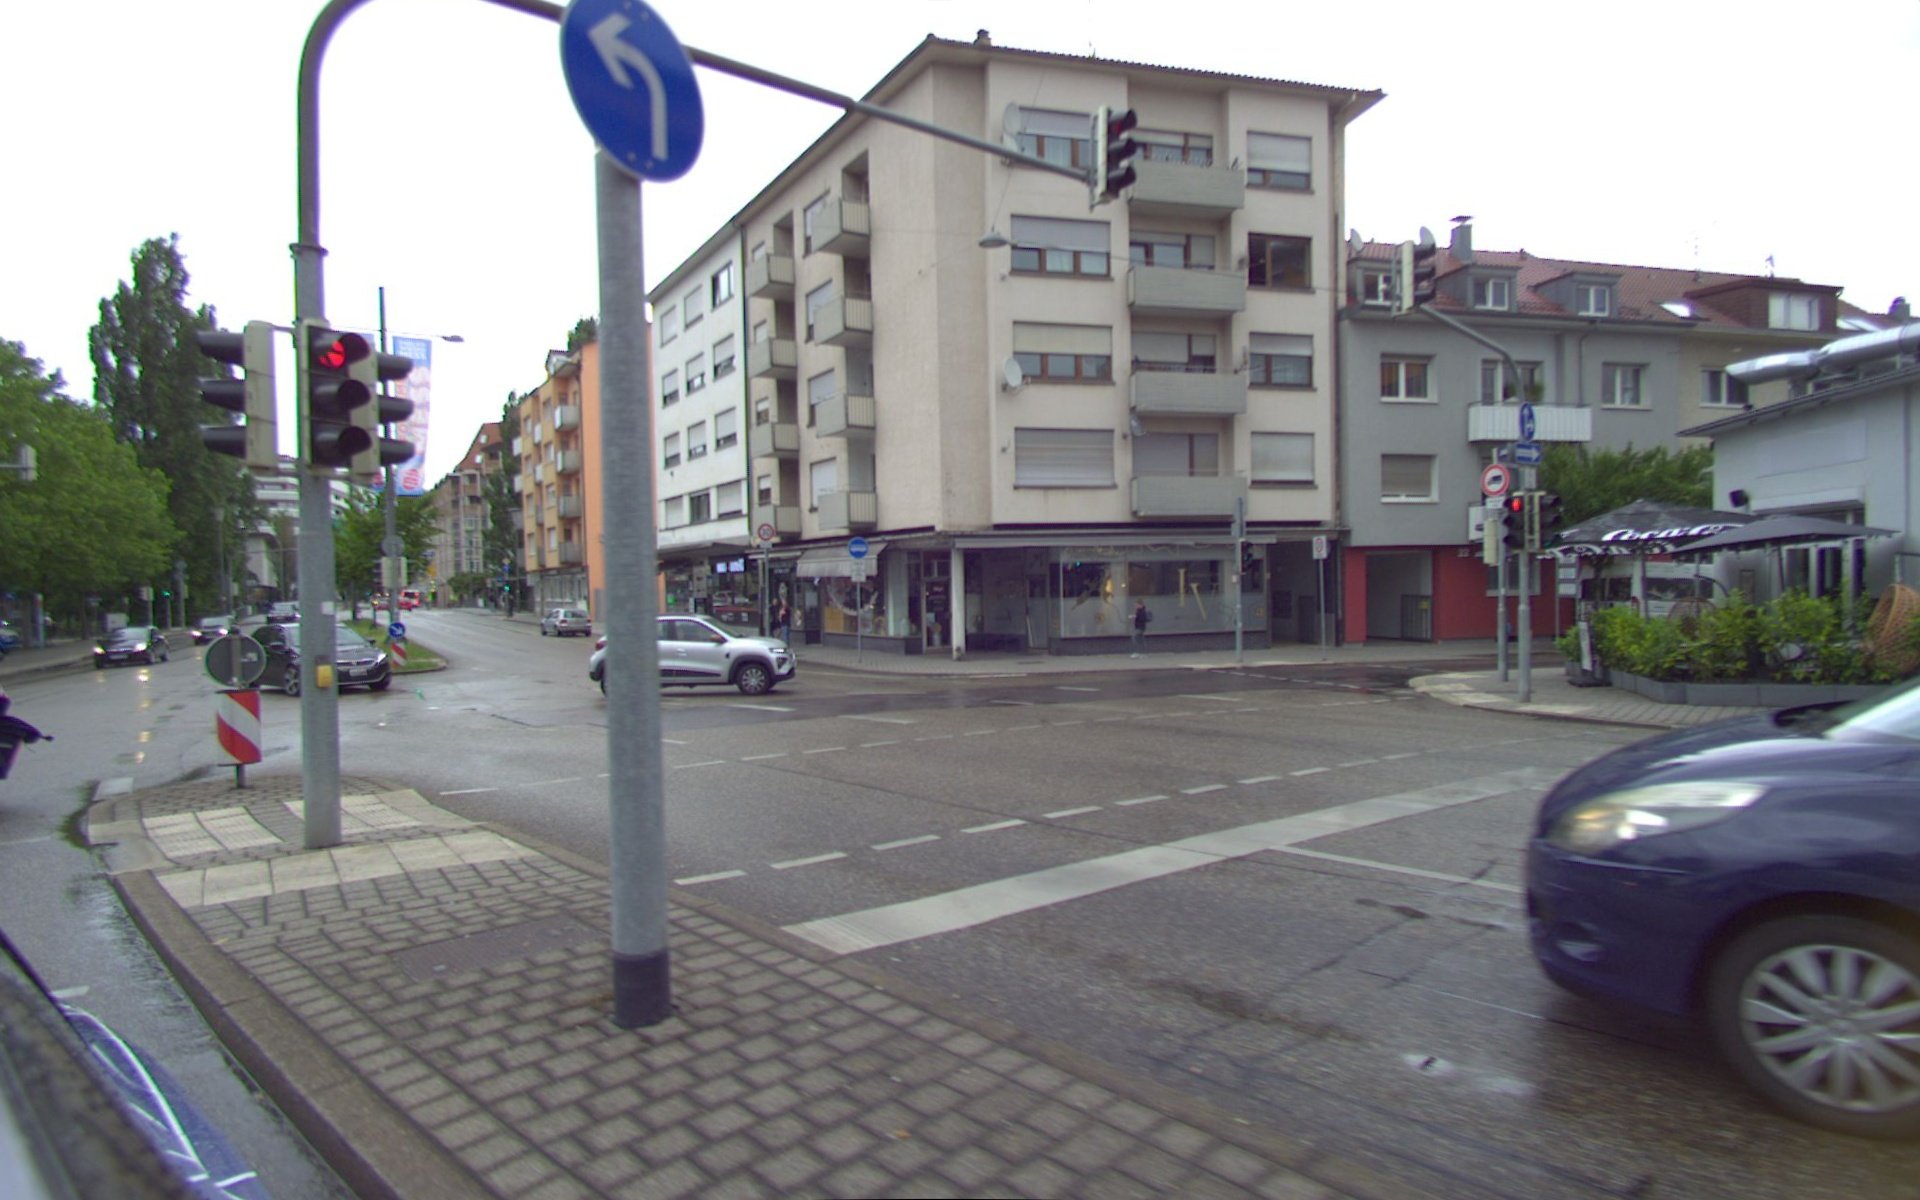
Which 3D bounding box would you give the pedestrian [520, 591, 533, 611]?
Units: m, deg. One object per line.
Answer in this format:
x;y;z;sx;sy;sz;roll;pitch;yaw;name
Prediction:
-38.717;0.073;90.401;0.680;1.703;0.740;-1;1;27;pedestrian

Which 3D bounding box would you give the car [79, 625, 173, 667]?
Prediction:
-31.491;1.684;38.345;1.865;1.410;4.375;0;-1;-27;car

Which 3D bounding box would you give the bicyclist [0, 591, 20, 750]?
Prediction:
-8.059;0.589;7.898;0.948;1.235;0.716;-3;-2;-37;bicyclist

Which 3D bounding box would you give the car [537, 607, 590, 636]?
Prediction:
-20.279;1.080;51.671;1.653;1.402;4.163;1;-1;-34;car

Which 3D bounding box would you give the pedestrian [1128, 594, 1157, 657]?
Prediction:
4.976;0.679;27.666;0.593;1.662;0.530;-2;3;-16;pedestrian

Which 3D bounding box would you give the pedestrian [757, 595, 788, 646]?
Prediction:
-6.744;0.729;36.376;0.767;1.742;0.662;-6;2;-29;pedestrian

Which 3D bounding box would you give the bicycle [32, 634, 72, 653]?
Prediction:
-60.593;2.887;67.534;0.650;1.102;1.906;0;2;42;bicycle

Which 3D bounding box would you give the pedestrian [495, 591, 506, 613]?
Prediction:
-40.516;0.179;89.177;0.734;1.901;0.802;-2;1;-34;pedestrian

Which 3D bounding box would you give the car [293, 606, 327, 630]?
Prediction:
-44.509;1.241;69.393;1.866;1.588;4.373;0;-1;-32;car

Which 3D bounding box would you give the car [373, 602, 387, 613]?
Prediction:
-80.277;1.021;139.971;1.545;1.404;3.845;0;0;-32;car

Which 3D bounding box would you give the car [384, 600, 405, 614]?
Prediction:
-60.275;0.701;107.869;1.581;1.441;3.956;1;0;-34;car

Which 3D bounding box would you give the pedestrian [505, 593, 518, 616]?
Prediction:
-35.968;0.351;81.177;0.608;1.741;0.554;-3;3;39;pedestrian

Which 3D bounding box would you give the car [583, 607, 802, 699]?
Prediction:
-4.805;0.937;18.513;3.578;1.472;1.542;-2;0;0;car

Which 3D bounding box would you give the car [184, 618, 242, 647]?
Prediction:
-39.576;1.701;53.702;1.865;1.432;4.375;0;-1;-28;car

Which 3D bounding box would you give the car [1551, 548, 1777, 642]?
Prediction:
20.376;-0.147;29.399;5.171;2.528;2.412;-1;0;-11;car

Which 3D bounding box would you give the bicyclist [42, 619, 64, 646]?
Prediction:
-60.556;2.157;67.534;0.797;1.783;0.974;0;2;43;bicyclist

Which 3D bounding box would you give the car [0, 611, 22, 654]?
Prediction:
-48.249;1.752;48.187;4.769;1.956;1.957;-5;3;-28;car

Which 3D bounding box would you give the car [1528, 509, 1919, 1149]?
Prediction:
3.939;0.550;2.478;4.206;1.627;1.738;-2;-1;39;car

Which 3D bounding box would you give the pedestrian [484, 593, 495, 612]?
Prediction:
-42.913;0.227;92.241;0.754;1.708;0.802;-2;1;-34;pedestrian

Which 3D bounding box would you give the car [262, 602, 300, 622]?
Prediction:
-51.271;0.909;76.438;1.865;1.499;4.375;0;-1;-27;car

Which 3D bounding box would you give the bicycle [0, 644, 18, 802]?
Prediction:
-8.009;1.006;7.853;0.706;1.315;2.433;1;-3;-36;bicycle

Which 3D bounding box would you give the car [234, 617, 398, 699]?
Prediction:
-13.806;1.156;21.597;4.395;1.444;1.780;-1;2;42;car

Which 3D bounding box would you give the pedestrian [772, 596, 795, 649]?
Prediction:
-5.911;0.753;33.918;0.446;1.743;0.526;-6;2;-28;pedestrian
